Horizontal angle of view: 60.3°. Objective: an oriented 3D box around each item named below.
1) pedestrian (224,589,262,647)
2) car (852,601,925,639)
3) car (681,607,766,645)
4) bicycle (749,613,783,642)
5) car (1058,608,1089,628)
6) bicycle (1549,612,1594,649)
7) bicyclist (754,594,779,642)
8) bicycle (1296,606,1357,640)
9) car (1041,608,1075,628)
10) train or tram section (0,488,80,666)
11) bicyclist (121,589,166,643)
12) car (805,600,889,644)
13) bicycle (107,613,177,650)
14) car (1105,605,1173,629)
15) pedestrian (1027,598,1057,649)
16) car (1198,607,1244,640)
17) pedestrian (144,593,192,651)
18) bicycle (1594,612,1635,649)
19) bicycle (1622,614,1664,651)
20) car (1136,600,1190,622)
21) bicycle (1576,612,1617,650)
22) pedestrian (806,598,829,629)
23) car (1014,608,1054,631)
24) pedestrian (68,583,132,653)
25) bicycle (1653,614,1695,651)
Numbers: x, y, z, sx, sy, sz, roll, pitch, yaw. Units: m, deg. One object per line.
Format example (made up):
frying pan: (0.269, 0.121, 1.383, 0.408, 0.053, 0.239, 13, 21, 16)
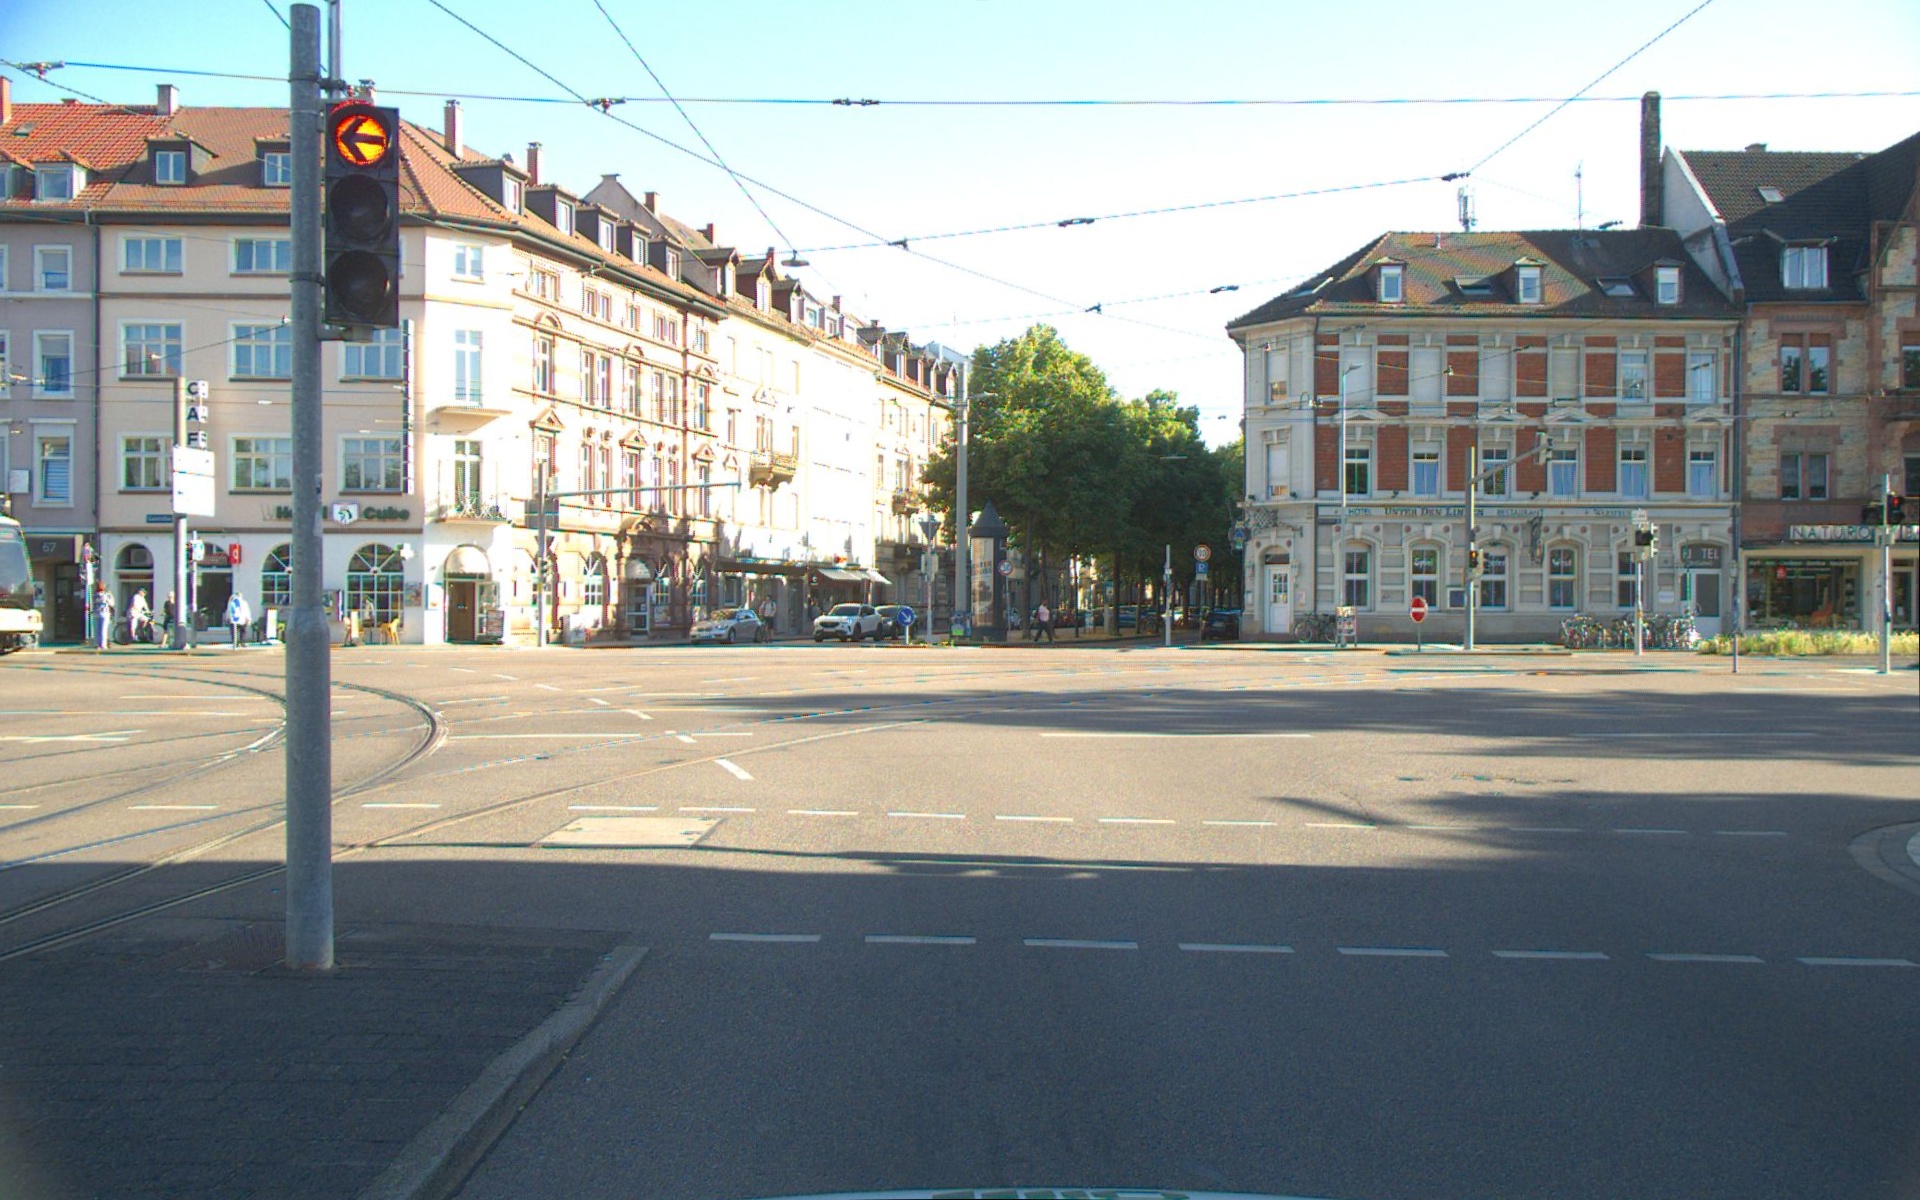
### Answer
pedestrian: (-22.381, 0.557, 51.609, 0.996, 1.806, 0.931, 0, 0, -31)
car: (-3.149, 0.854, 73.792, 1.951, 1.640, 4.393, 0, 0, 17)
car: (-9.527, 1.029, 66.903, 1.858, 1.481, 4.002, 0, 0, 17)
bicycle: (-7.597, 1.074, 64.893, 0.665, 1.085, 2.127, 0, 0, 12)
car: (9.386, 1.447, 136.469, 1.727, 1.576, 4.394, 0, 0, 16)
bicycle: (19.822, 0.978, 53.664, 0.789, 1.163, 2.175, 0, 0, 4)
bicyclist: (-7.586, 0.687, 64.935, 0.664, 1.852, 1.071, 0, 0, 12)
bicycle: (12.751, 0.809, 57.588, 2.045, 1.144, 0.366, 1, -1, -5)
car: (7.774, 1.409, 130.567, 1.798, 1.579, 4.393, 0, 0, 16)
train or tram section: (-22.832, -0.467, 34.564, 7.766, 3.561, 2.826, 0, 0, 11)
bicyclist: (-27.464, 0.530, 55.621, 1.142, 1.806, 0.748, 0, 0, -2)
car: (-4.543, 0.877, 67.257, 1.951, 1.713, 4.393, 0, 0, 17)
bicycle: (-27.488, 1.053, 55.595, 2.048, 1.202, 0.631, 0, 0, -1)
car: (12.516, 1.185, 115.536, 4.290, 1.640, 1.998, 0, 0, 26)
pedestrian: (2.902, 0.823, 58.196, 1.024, 1.774, 0.809, 0, 0, 5)
car: (13.068, 1.149, 82.639, 1.951, 1.613, 4.003, 0, 0, 13)
pedestrian: (-24.892, 0.681, 52.009, 0.985, 1.806, 0.942, 0, 0, 14)
bicycle: (21.165, 0.983, 53.515, 0.605, 1.163, 2.175, 0, 0, 4)
bicycle: (22.073, 1.044, 53.456, 0.605, 1.163, 2.175, 0, 0, 4)
car: (16.412, 0.870, 133.878, 3.912, 1.736, 1.996, 0, 0, 30)
bicycle: (20.593, 0.988, 53.546, 0.605, 1.163, 2.175, 0, 0, 4)
pedestrian: (-7.399, 0.700, 85.917, 0.908, 1.562, 1.138, 0, 0, 13)
car: (5.521, 1.412, 122.743, 1.951, 1.640, 4.393, 0, 0, 17)
pedestrian: (-21.566, 0.445, 41.496, 1.058, 1.714, 1.103, 0, 0, -1)
bicycle: (23.037, 1.047, 53.404, 0.596, 1.156, 2.136, 0, 0, 4)
